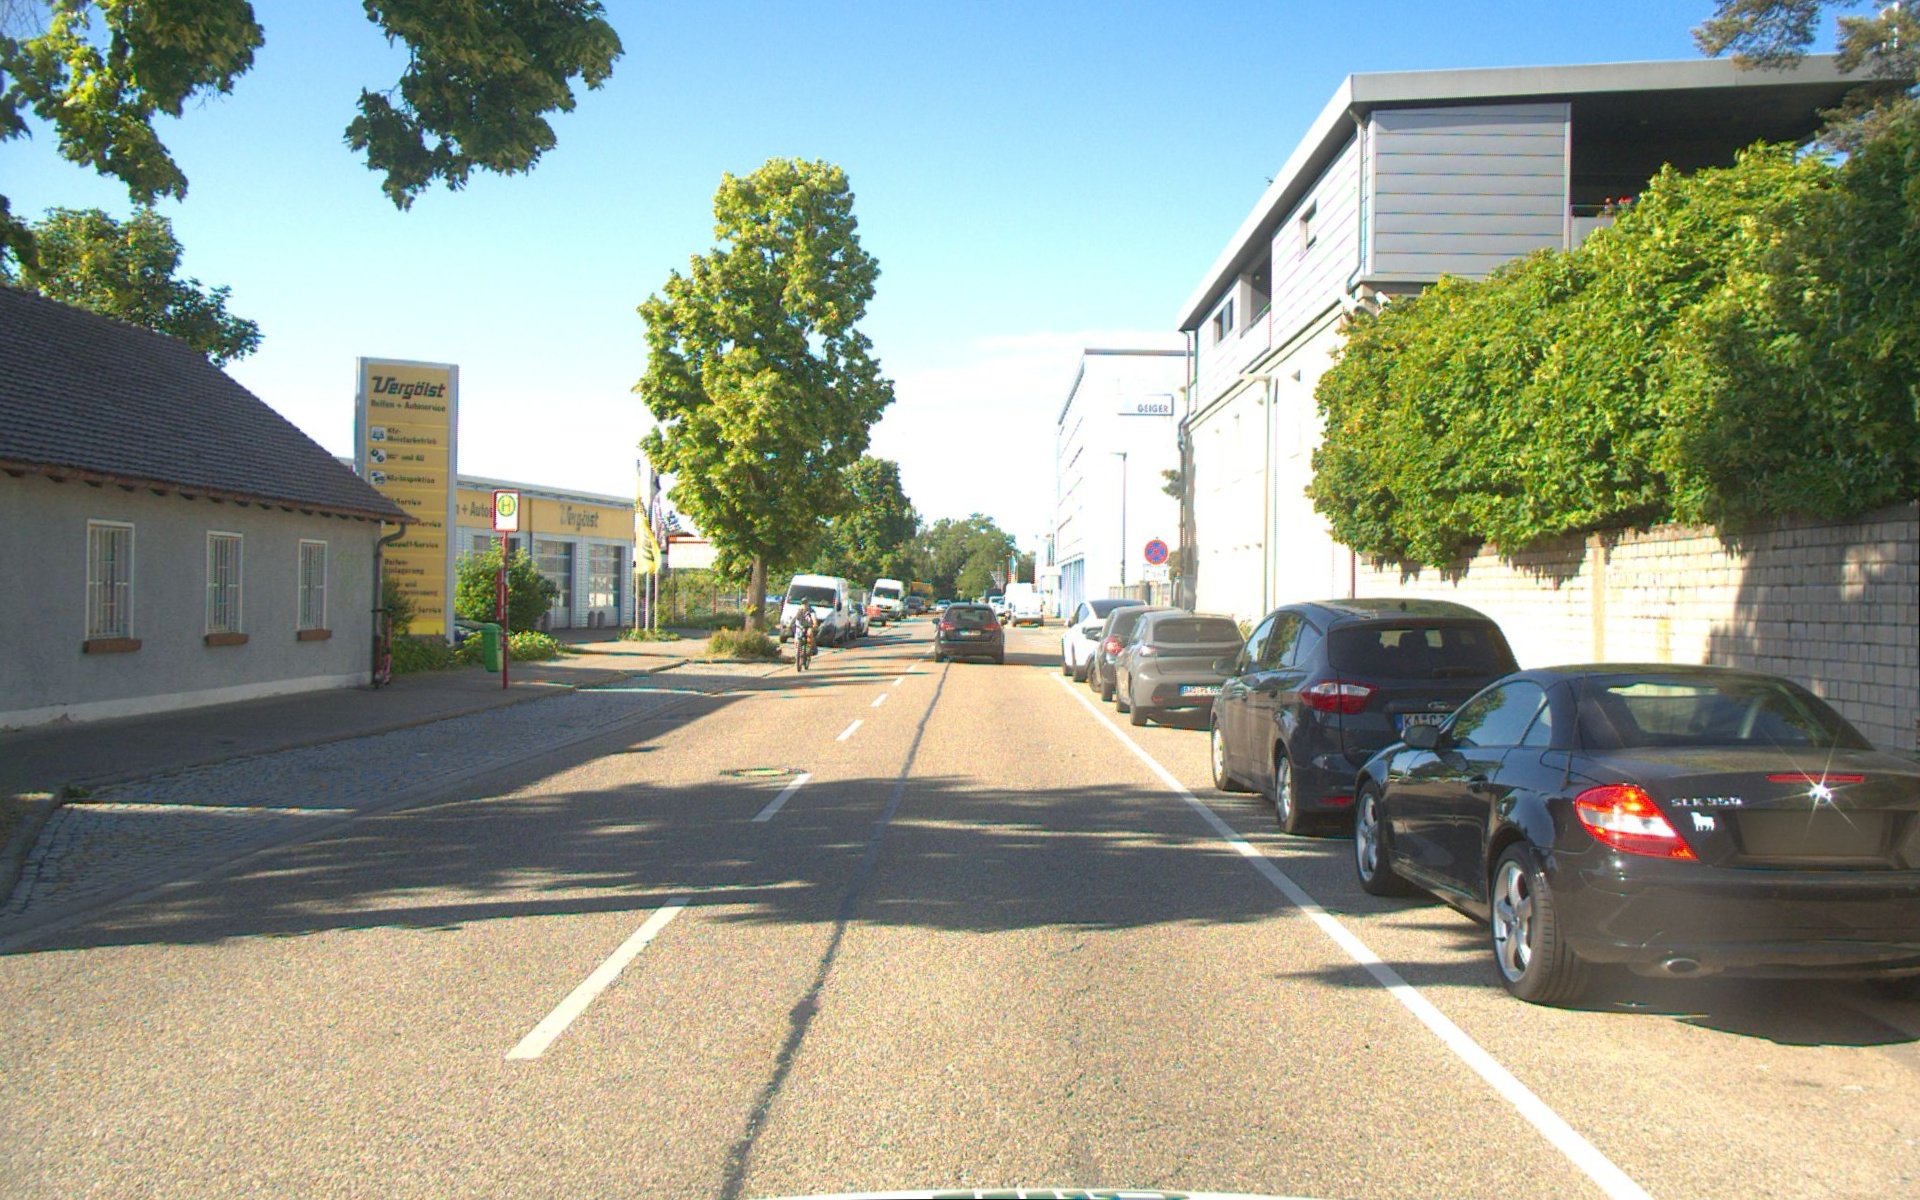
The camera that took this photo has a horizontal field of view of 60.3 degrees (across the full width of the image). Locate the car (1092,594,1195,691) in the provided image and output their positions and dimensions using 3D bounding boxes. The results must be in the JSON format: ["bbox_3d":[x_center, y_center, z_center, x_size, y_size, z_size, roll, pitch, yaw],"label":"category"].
[{"bbox_3d":[3.044,0.659,27.994,1.565,1.498,4.192,0,0,4],"label":"car"}]

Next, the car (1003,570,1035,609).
[{"bbox_3d":[4.212,-0.808,119.432,1.953,2.643,6.050,-1,1,-1],"label":"car"}]

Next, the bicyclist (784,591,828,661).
[{"bbox_3d":[-3.567,0.590,38.362,0.822,1.569,1.137,2,-1,3],"label":"bicyclist"}]

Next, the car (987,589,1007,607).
[{"bbox_3d":[3.894,-0.198,175.188,1.847,1.829,5.103,2,0,-1],"label":"car"}]

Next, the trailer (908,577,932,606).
[{"bbox_3d":[-4.898,-1.078,204.193,2.930,3.503,8.159,0,0,-1],"label":"trailer"}]

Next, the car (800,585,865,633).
[{"bbox_3d":[-5.145,0.345,67.389,1.952,1.768,4.577,4,1,3],"label":"car"}]

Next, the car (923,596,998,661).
[{"bbox_3d":[0.042,0.675,41.962,1.809,1.557,4.000,0,0,1],"label":"car"}]

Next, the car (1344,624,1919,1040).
[{"bbox_3d":[3.056,0.827,7.737,1.620,1.341,4.104,0,0,1],"label":"car"}]

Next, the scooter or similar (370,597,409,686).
[{"bbox_3d":[-8.636,0.608,25.064,0.474,1.293,1.571,1,0,-17],"label":"scooter or similar"}]

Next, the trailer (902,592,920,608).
[{"bbox_3d":[-4.298,-0.007,145.111,1.446,1.378,3.078,2,0,0],"label":"trailer"}]

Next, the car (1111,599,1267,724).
[{"bbox_3d":[3.041,0.769,22.658,1.625,1.531,4.032,0,0,1],"label":"car"}]

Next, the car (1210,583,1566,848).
[{"bbox_3d":[3.051,0.723,12.661,1.647,1.642,4.205,2,0,1],"label":"car"}]

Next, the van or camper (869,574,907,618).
[{"bbox_3d":[-4.784,-0.271,110.696,1.926,2.731,5.949,5,0,2],"label":"van or camper"}]

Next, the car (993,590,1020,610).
[{"bbox_3d":[3.657,0.007,130.836,1.856,1.430,5.123,2,0,0],"label":"car"}]

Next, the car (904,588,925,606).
[{"bbox_3d":[-4.456,-0.271,163.518,1.754,1.761,4.803,0,0,2],"label":"car"}]

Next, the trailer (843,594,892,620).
[{"bbox_3d":[-5.092,0.363,91.989,2.328,1.098,6.245,4,1,0],"label":"trailer"}]

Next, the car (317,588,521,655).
[{"bbox_3d":[-12.945,0.490,39.655,4.252,1.534,2.002,0,0,14],"label":"car"}]

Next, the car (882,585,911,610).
[{"bbox_3d":[-4.758,-0.209,123.882,1.989,1.723,5.105,4,0,-1],"label":"car"}]

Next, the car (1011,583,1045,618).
[{"bbox_3d":[3.805,0.024,93.431,1.850,1.864,5.091,1,0,2],"label":"car"}]

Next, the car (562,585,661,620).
[{"bbox_3d":[-16.218,0.115,76.966,4.069,1.601,1.918,0,0,10],"label":"car"}]

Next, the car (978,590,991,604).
[{"bbox_3d":[3.552,-0.446,241.703,1.836,2.049,5.160,2,0,0],"label":"car"}]

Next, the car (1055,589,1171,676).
[{"bbox_3d":[3.118,0.618,34.578,1.892,1.673,4.769,0,0,-1],"label":"car"}]

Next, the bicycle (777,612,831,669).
[{"bbox_3d":[-3.581,0.913,38.220,0.822,1.261,2.605,2,0,3],"label":"bicycle"}]

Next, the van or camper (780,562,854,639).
[{"bbox_3d":[-5.281,-0.022,61.836,2.028,2.593,6.404,4,1,0],"label":"van or camper"}]

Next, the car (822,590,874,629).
[{"bbox_3d":[-4.881,0.399,72.670,1.763,1.536,5.003,4,0,1],"label":"car"}]

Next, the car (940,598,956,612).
[{"bbox_3d":[-1.329,0.532,179.657,1.711,1.473,4.360,0,0,0],"label":"car"}]
